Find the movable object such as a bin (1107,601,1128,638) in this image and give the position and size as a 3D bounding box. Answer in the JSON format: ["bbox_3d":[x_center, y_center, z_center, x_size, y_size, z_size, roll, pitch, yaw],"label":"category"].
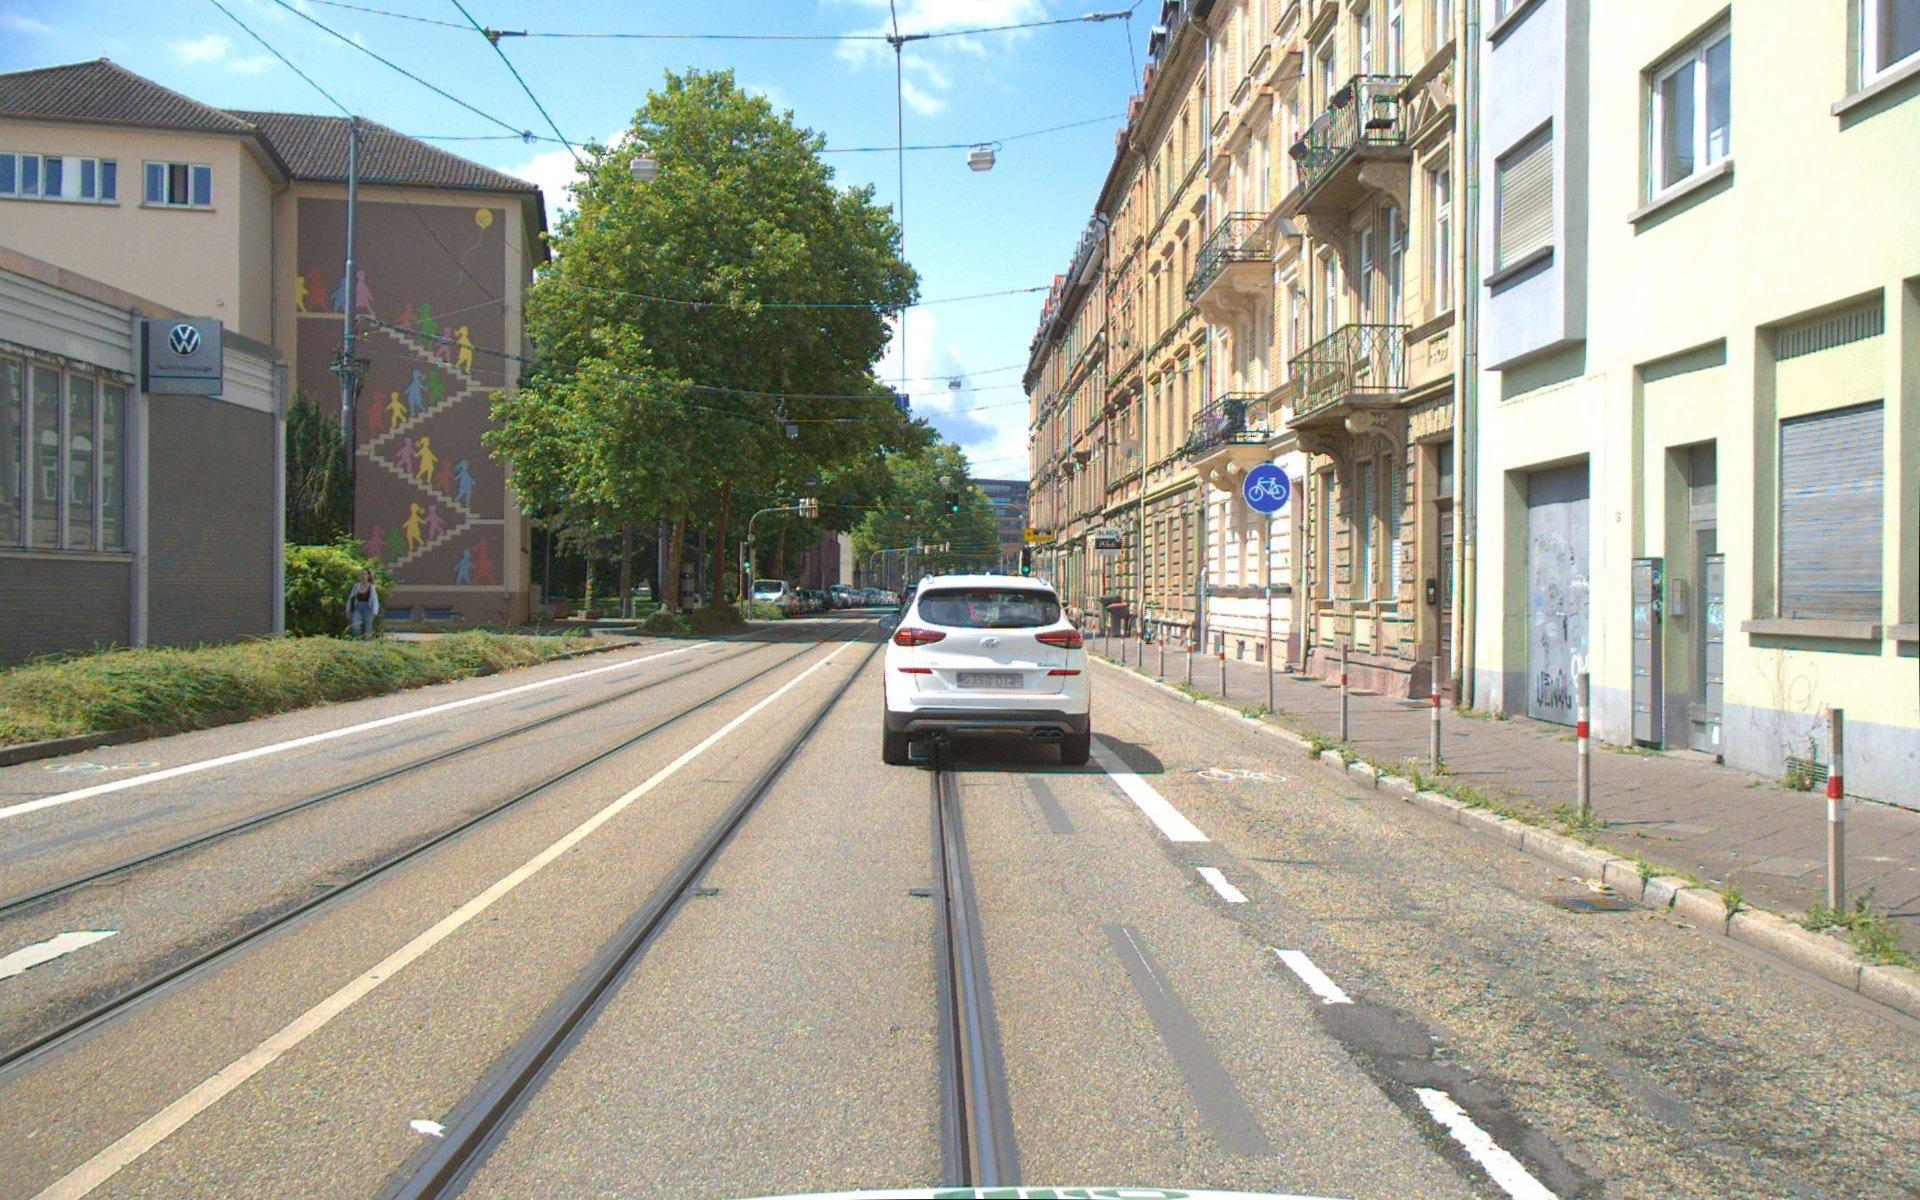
[{"bbox_3d":[5.041,0.606,52.984,0.600,1.163,0.638,1,0,-1],"label":"movable object such as a bin"}]

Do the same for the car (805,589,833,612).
[{"bbox_3d":[-10.332,0.011,121.438,1.911,1.660,3.997,1,0,-4],"label":"car"}]

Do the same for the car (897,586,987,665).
[{"bbox_3d":[-0.360,0.497,34.471,1.777,1.551,4.085,0,0,0],"label":"car"}]

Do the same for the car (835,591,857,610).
[{"bbox_3d":[-10.522,0.053,152.688,1.911,1.660,3.997,1,0,-4],"label":"car"}]

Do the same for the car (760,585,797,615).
[{"bbox_3d":[-10.459,-0.022,95.712,1.911,1.660,3.997,1,0,-4],"label":"car"}]

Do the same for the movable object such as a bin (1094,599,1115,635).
[{"bbox_3d":[4.759,0.547,54.425,0.600,1.163,0.638,0,0,-1],"label":"movable object such as a bin"}]

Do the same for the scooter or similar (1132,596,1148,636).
[{"bbox_3d":[5.434,0.478,49.947,0.387,1.184,0.486,1,0,-1],"label":"scooter or similar"}]

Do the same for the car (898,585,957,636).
[{"bbox_3d":[-1.034,0.301,52.603,1.777,1.551,3.955,1,0,-1],"label":"car"}]

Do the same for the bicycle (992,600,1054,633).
[{"bbox_3d":[2.334,0.621,61.330,2.222,1.164,0.584,1,0,-4],"label":"bicycle"}]

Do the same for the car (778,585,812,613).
[{"bbox_3d":[-10.307,-0.068,103.683,1.911,1.660,3.997,1,0,-4],"label":"car"}]

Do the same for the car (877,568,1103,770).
[{"bbox_3d":[0.152,0.565,15.825,1.815,1.662,4.178,1,0,-4],"label":"car"}]

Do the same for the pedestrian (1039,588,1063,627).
[{"bbox_3d":[3.843,0.321,70.112,0.919,1.600,1.049,1,0,-1],"label":"pedestrian"}]

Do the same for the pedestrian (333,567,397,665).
[{"bbox_3d":[-11.809,0.311,32.839,0.862,1.898,1.081,-1,0,-1],"label":"pedestrian"}]

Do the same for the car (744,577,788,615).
[{"bbox_3d":[-10.340,-0.215,88.498,1.910,1.928,4.564,1,0,-1],"label":"car"}]

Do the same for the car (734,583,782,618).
[{"bbox_3d":[-10.051,0.011,82.455,1.910,1.660,4.574,1,0,-1],"label":"car"}]
